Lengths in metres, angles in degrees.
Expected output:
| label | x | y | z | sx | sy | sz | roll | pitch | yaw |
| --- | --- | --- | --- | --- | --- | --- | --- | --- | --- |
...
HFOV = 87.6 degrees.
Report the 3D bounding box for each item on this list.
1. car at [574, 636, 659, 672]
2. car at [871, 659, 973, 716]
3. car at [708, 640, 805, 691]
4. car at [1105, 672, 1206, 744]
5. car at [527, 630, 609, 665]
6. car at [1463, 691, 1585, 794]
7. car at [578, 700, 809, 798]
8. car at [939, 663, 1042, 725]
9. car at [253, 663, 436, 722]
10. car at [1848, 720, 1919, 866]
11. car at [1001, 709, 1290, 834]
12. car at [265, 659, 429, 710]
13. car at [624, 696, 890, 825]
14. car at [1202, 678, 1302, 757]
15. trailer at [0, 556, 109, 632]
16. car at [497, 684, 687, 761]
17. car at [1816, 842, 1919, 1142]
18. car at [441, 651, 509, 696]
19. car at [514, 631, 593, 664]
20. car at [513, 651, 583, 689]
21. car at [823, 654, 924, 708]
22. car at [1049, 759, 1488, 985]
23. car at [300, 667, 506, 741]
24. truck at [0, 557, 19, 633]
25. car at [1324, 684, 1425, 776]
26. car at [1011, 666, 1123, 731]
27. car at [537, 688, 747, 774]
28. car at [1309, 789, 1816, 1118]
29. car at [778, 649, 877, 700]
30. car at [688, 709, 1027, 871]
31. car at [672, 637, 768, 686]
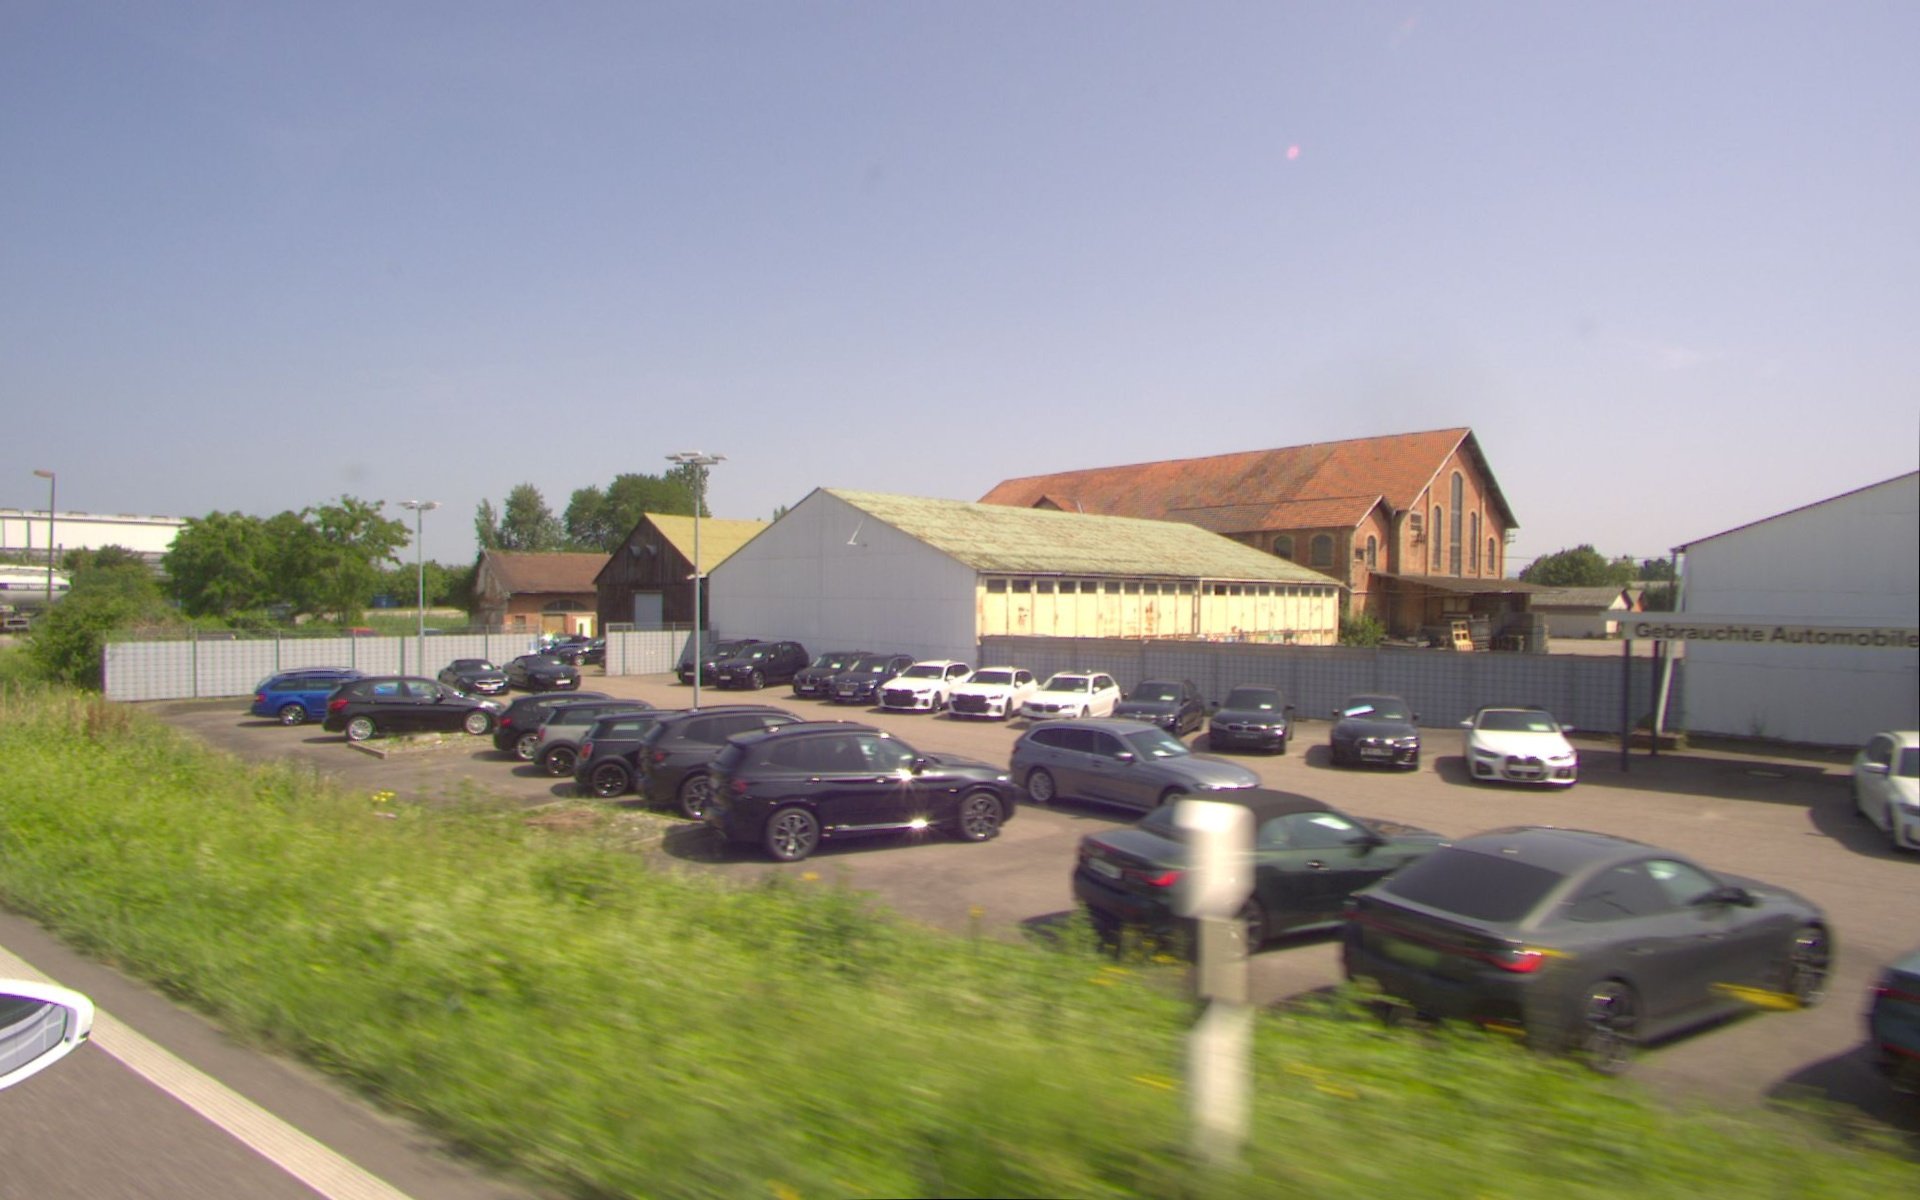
| label | x | y | z | sx | sy | sz | roll | pitch | yaw |
| --- | --- | --- | --- | --- | --- | --- | --- | --- | --- |
| car | -17.347 | 2.701 | 50.638 | 3.711 | 1.772 | 1.659 | 2 | -2 | -42 |
| car | -1.177 | 2.854 | 33.401 | 1.878 | 1.543 | 4.329 | 1 | 0 | 20 |
| car | -8.285 | 2.625 | 41.140 | 1.878 | 1.828 | 4.329 | 1 | 0 | 20 |
| car | 5.331 | 2.825 | 26.967 | 1.730 | 1.543 | 3.997 | -1 | -1 | 25 |
| car | -20.721 | 2.493 | 52.978 | 3.708 | 1.772 | 1.660 | 1 | -2 | -39 |
| car | 11.635 | 2.847 | 20.929 | 1.901 | 1.543 | 4.604 | -1 | -1 | 25 |
| car | -5.100 | 2.776 | 19.137 | 4.081 | 1.461 | 1.770 | 1 | 1 | -22 |
| car | 1.054 | 2.898 | 31.726 | 1.878 | 1.543 | 4.604 | 1 | 0 | 20 |
| car | -18.553 | 2.755 | 30.455 | 4.574 | 1.518 | 1.848 | 1 | 1 | -27 |
| car | 14.562 | 2.769 | 14.653 | 1.907 | 1.543 | 4.411 | -1 | -1 | 36 |
| car | 3.059 | 2.789 | 17.164 | 2.123 | 1.476 | 4.487 | 2 | -2 | -45 |
| car | -20.358 | 2.786 | 33.445 | 4.295 | 1.522 | 1.839 | 1 | 0 | -15 |
| car | -3.478 | 2.631 | 17.075 | 4.166 | 1.723 | 1.913 | 1 | 1 | -22 |
| car | 7.451 | 2.874 | 25.273 | 1.768 | 1.543 | 4.313 | -1 | -1 | 25 |
| trailer | -53.938 | -0.213 | 58.094 | 2.834 | 4.082 | 8.694 | 0 | -2 | -9 |
| car | -8.383 | 2.772 | 23.116 | 3.965 | 1.461 | 1.770 | 1 | 1 | -18 |
| car | 7.821 | 2.545 | 6.754 | 4.112 | 1.542 | 1.847 | 1 | -2 | -30 |
| car | -18.976 | 2.805 | 39.069 | 1.832 | 1.554 | 4.616 | 1 | -2 | -33 |
| car | -22.470 | 2.600 | 55.395 | 3.708 | 1.772 | 1.660 | 1 | -2 | -39 |
| car | -16.940 | 2.826 | 41.088 | 1.973 | 1.416 | 3.976 | 1 | -2 | -33 |
| car | -2.984 | 2.810 | 35.568 | 1.878 | 1.597 | 4.329 | 1 | 0 | 20 |
| car | 3.378 | 2.723 | 10.822 | 4.574 | 1.542 | 1.849 | 1 | -2 | -27 |
| car | -14.534 | 2.654 | 26.324 | 4.578 | 1.625 | 1.847 | 1 | -1 | -31 |
| truck | -52.743 | -0.335 | 51.823 | 2.838 | 4.082 | 6.715 | 0 | -2 | -13 |
| car | 9.556 | 2.847 | 22.880 | 1.901 | 1.543 | 4.604 | -1 | -1 | 25 |
| car | 3.276 | 2.843 | 29.713 | 1.881 | 1.543 | 4.646 | -1 | -1 | 25 |
| car | -6.748 | 2.715 | 21.293 | 4.081 | 1.512 | 1.826 | 1 | -1 | -22 |
| car | 5.044 | 2.622 | 8.293 | 4.112 | 1.542 | 1.847 | 1 | -2 | -30 |
| car | -4.890 | 2.749 | 37.566 | 1.878 | 1.597 | 4.329 | 1 | 0 | 20 |
| car | -1.474 | 2.628 | 14.610 | 4.571 | 1.723 | 1.849 | 1 | 1 | -25 |
| car | -10.316 | 2.607 | 43.396 | 1.964 | 1.828 | 4.329 | 1 | 0 | 20 |
